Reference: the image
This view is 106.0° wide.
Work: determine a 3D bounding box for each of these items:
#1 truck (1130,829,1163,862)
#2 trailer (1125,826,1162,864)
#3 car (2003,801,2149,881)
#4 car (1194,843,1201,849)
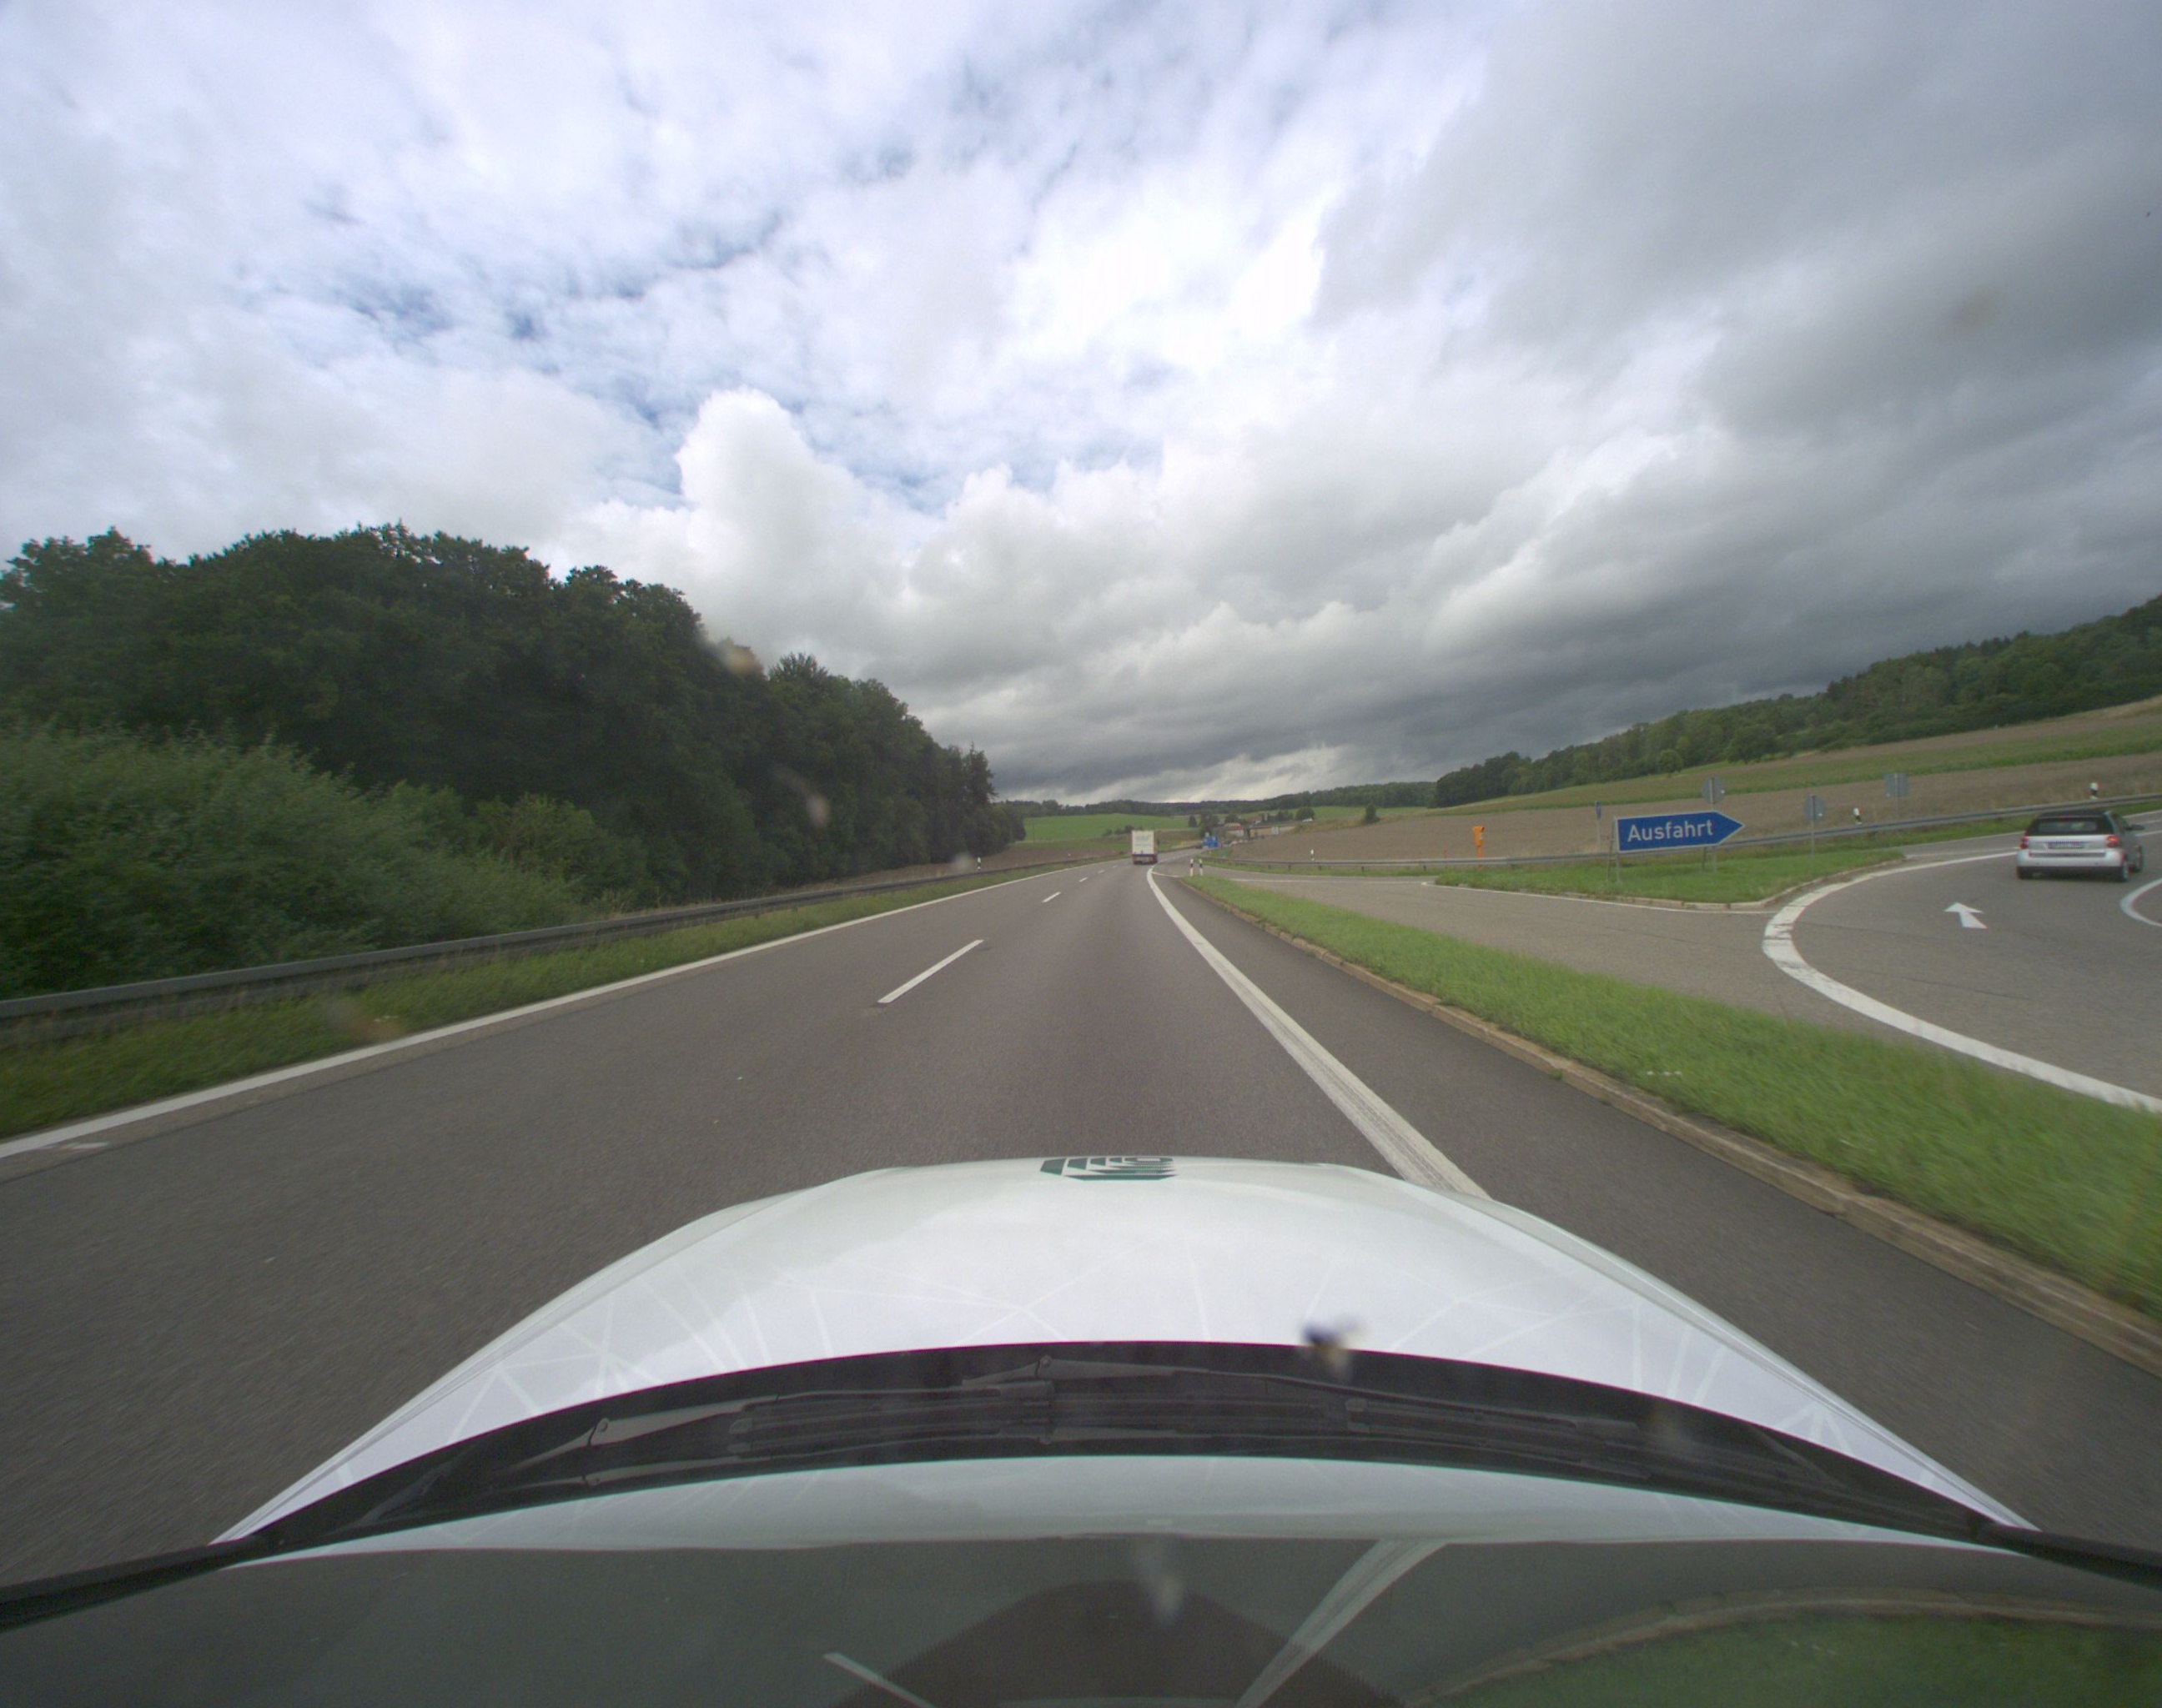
[{"bbox_3d":[8.595,-1.090,105.964,3.767,4.131,8.281,1,0,7],"label":"truck"},{"bbox_3d":[7.746,-1.022,98.738,3.785,4.174,14.837,-1,0,7],"label":"trailer"},{"bbox_3d":[23.573,-0.334,19.259,4.016,1.551,1.765,-5,2,-34],"label":"car"},{"bbox_3d":[37.270,-2.575,260.654,1.892,1.795,4.009,-2,-2,9],"label":"car"}]
